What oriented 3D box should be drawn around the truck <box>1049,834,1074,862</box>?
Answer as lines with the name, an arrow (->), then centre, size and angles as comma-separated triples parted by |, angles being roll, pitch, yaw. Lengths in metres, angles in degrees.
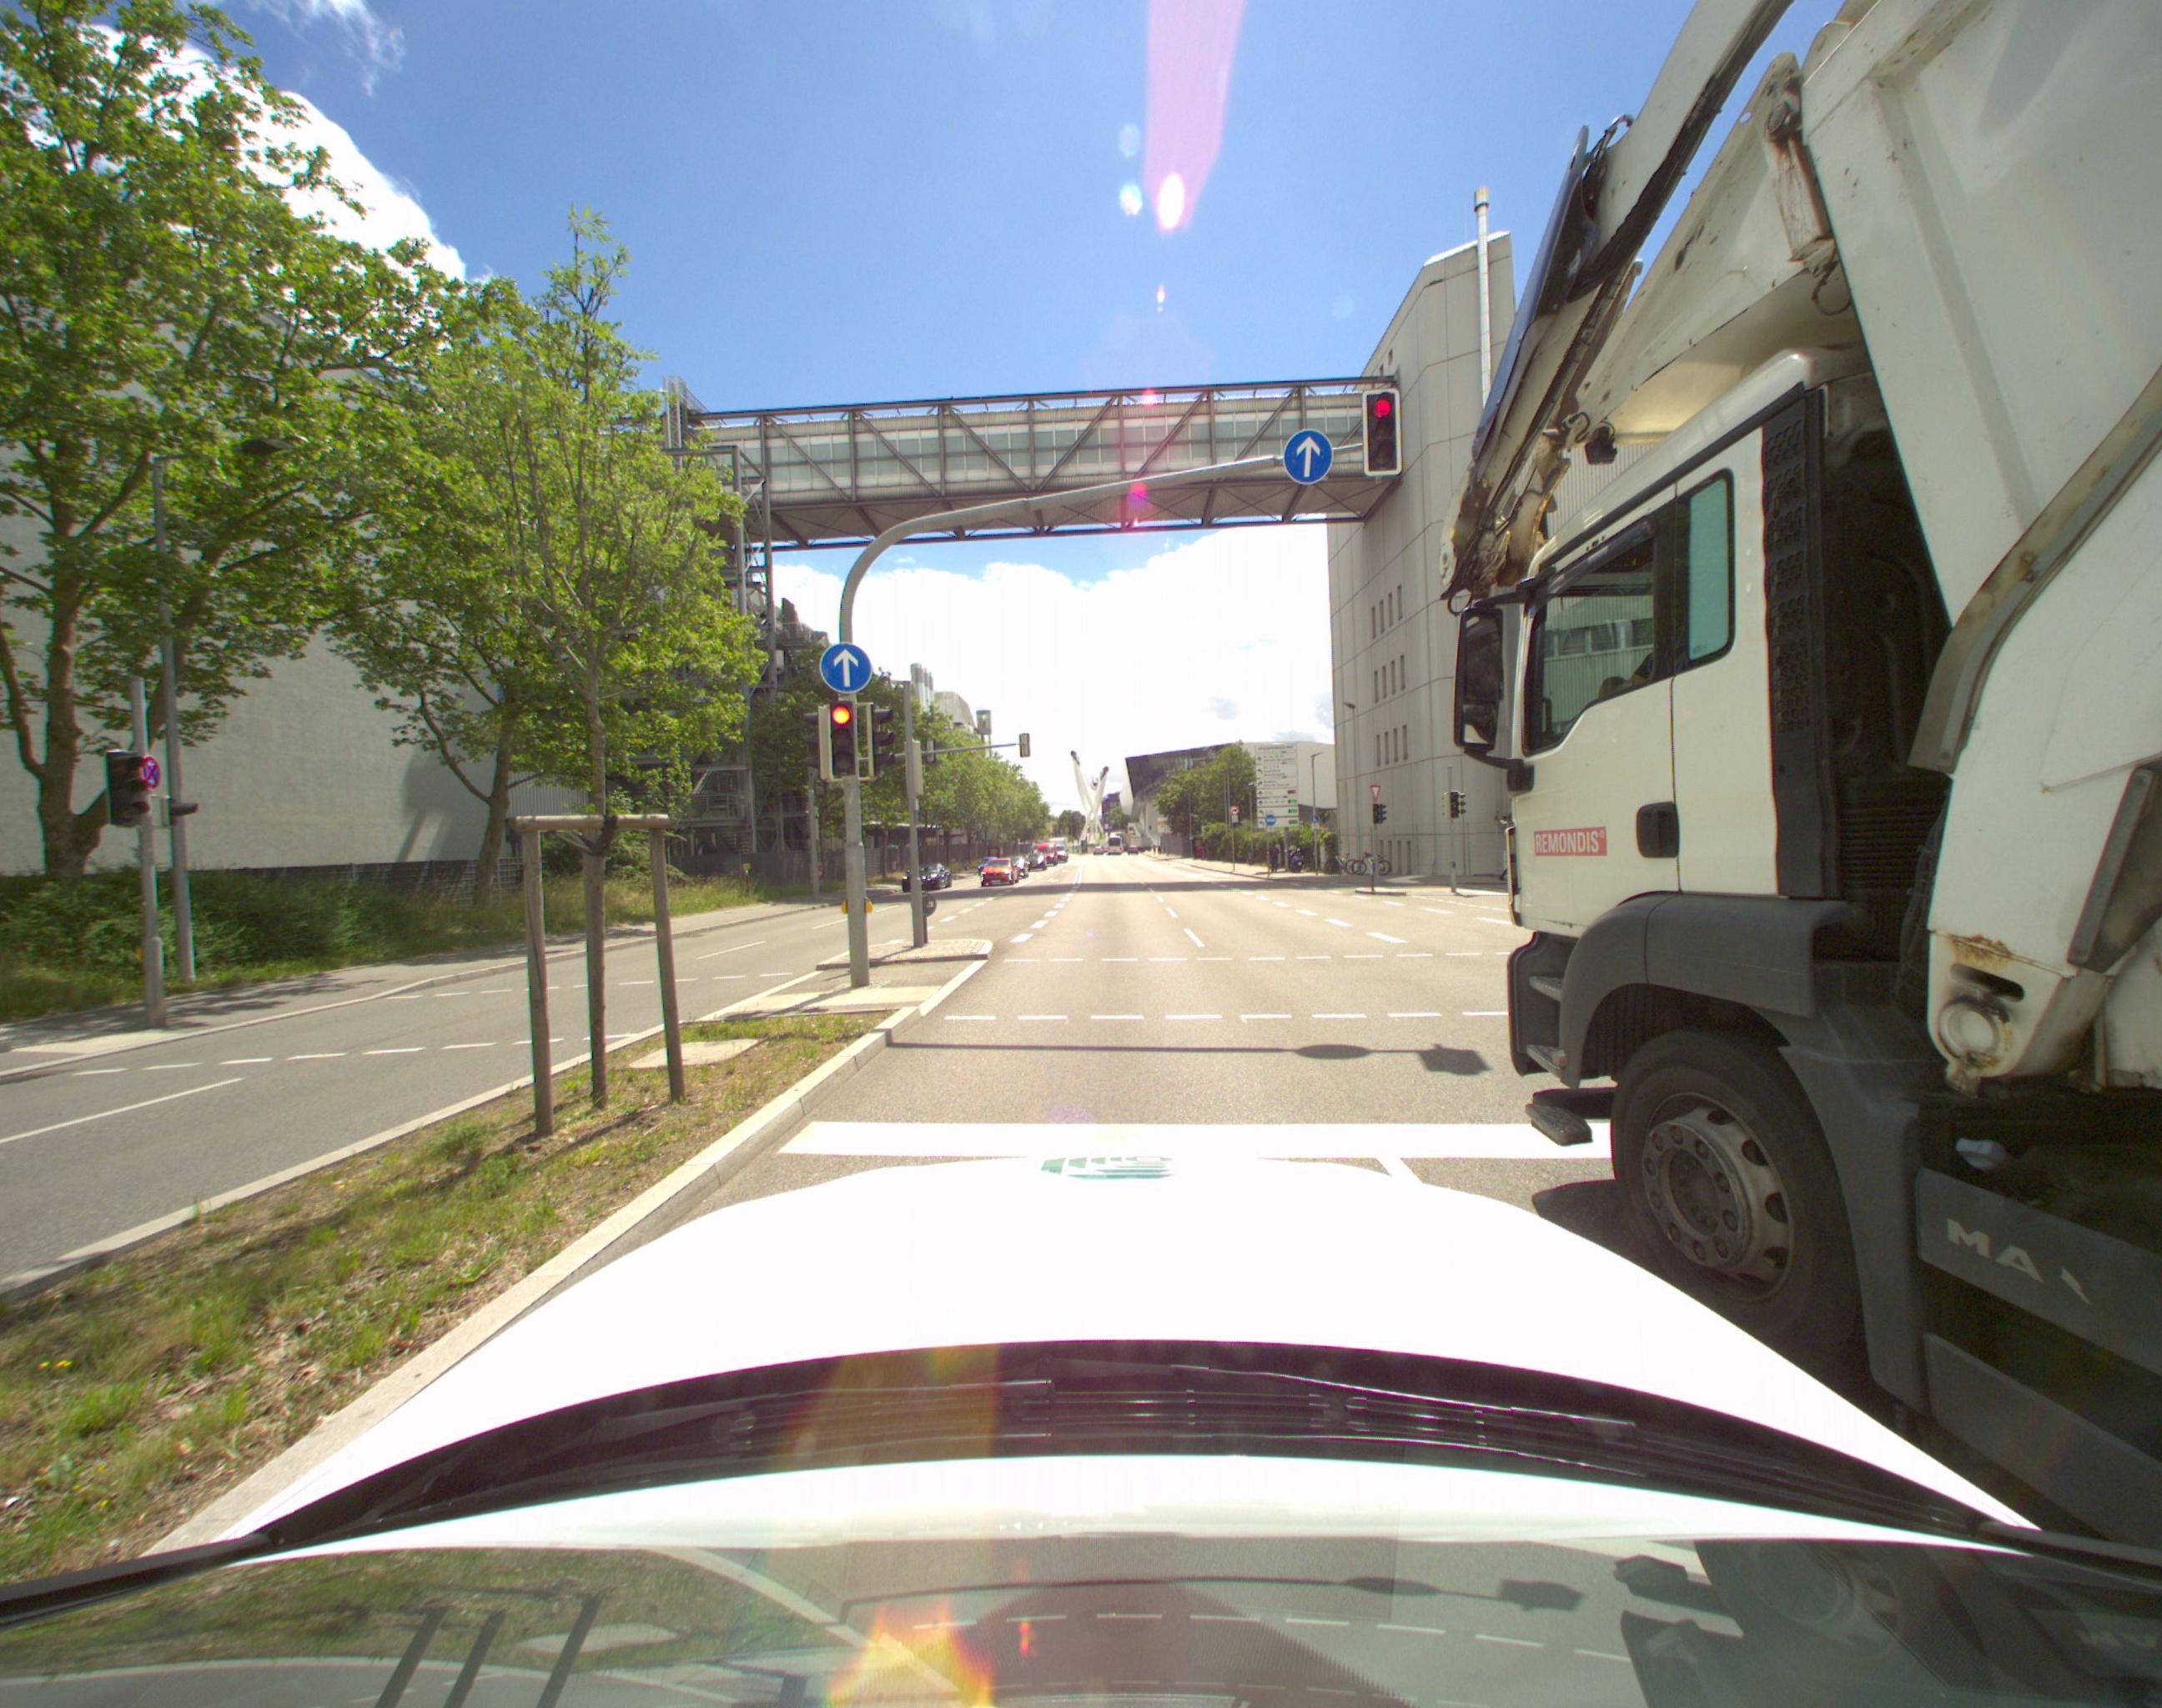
truck -> -2.400, -0.710, 101.950 | 2.581, 3.324, 7.083 | 0, -1, 3

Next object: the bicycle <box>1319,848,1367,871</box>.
bicycle -> 13.081, 0.280, 40.711 | 2.196, 1.086, 0.480 | -1, -1, 37

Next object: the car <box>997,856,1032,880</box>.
car -> -4.381, 0.898, 53.936 | 1.762, 1.420, 3.704 | -4, 0, 3

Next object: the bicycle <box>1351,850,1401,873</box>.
bicycle -> 13.920, 0.369, 38.495 | 2.166, 1.086, 0.480 | -1, -1, 37

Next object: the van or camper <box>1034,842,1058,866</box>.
van or camper -> -3.740, -0.050, 88.593 | 2.038, 2.466, 5.598 | -1, 0, 3

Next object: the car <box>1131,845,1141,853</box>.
car -> 9.854, -0.852, 146.152 | 1.551, 1.273, 3.704 | -4, 0, 3

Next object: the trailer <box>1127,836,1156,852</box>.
trailer -> 12.898, -2.063, 172.140 | 3.291, 2.995, 10.429 | -1, -1, 21

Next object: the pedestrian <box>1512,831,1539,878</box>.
pedestrian -> 17.647, 0.028, 32.344 | 0.704, 1.793, 0.697 | -4, 0, 18

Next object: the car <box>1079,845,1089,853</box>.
car -> 0.565, -0.951, 156.093 | 1.551, 1.273, 3.704 | -4, 0, 3

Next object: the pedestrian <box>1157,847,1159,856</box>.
pedestrian -> 12.408, -0.427, 131.151 | 0.384, 1.421, 0.424 | 0, -1, 2

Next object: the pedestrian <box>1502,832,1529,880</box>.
pedestrian -> 16.921, 0.076, 31.737 | 0.704, 1.793, 0.646 | -4, 0, 17

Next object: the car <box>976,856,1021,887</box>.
car -> -4.410, 0.916, 43.994 | 1.762, 1.420, 3.704 | -4, 0, 3

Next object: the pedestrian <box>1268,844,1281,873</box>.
pedestrian -> 11.097, 0.245, 46.721 | 0.532, 1.640, 0.657 | 0, -1, -4

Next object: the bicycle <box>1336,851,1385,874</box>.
bicycle -> 13.515, 0.404, 39.367 | 2.196, 1.086, 0.480 | -1, -1, 37

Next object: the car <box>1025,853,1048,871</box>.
car -> -3.909, 0.728, 72.433 | 1.551, 1.448, 3.775 | -4, 0, 3

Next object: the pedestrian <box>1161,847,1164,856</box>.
pedestrian -> 13.120, -0.459, 131.186 | 0.384, 1.421, 0.424 | 0, -1, 2

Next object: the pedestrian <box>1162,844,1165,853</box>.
pedestrian -> 13.595, -0.881, 134.287 | 0.384, 1.421, 0.424 | 0, -1, 2

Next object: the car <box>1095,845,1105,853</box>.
car -> 3.472, -0.908, 148.891 | 1.551, 1.273, 3.704 | -4, 0, 3

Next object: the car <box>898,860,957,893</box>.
car -> -8.067, 1.129, 43.285 | 1.910, 1.488, 4.775 | -4, 0, 3

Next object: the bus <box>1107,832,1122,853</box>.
bus -> 6.230, -2.012, 150.247 | 2.776, 3.686, 6.947 | 0, -1, 3

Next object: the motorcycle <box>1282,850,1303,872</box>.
motorcycle -> 11.647, 0.400, 44.902 | 0.418, 1.166, 1.951 | 0, -1, -9

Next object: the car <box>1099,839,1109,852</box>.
car -> 4.847, -1.699, 171.200 | 1.836, 2.624, 4.002 | 0, -1, 2

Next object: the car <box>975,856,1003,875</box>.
car -> -7.725, 0.973, 68.712 | 1.720, 1.382, 3.704 | -4, 0, 3

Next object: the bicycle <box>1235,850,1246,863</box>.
bicycle -> 12.720, 0.179, 65.137 | 0.417, 1.022, 1.911 | 0, -1, -2

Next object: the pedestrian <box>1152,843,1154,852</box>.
pedestrian -> 11.903, -1.078, 134.755 | 0.384, 1.421, 0.424 | 0, -1, 2
